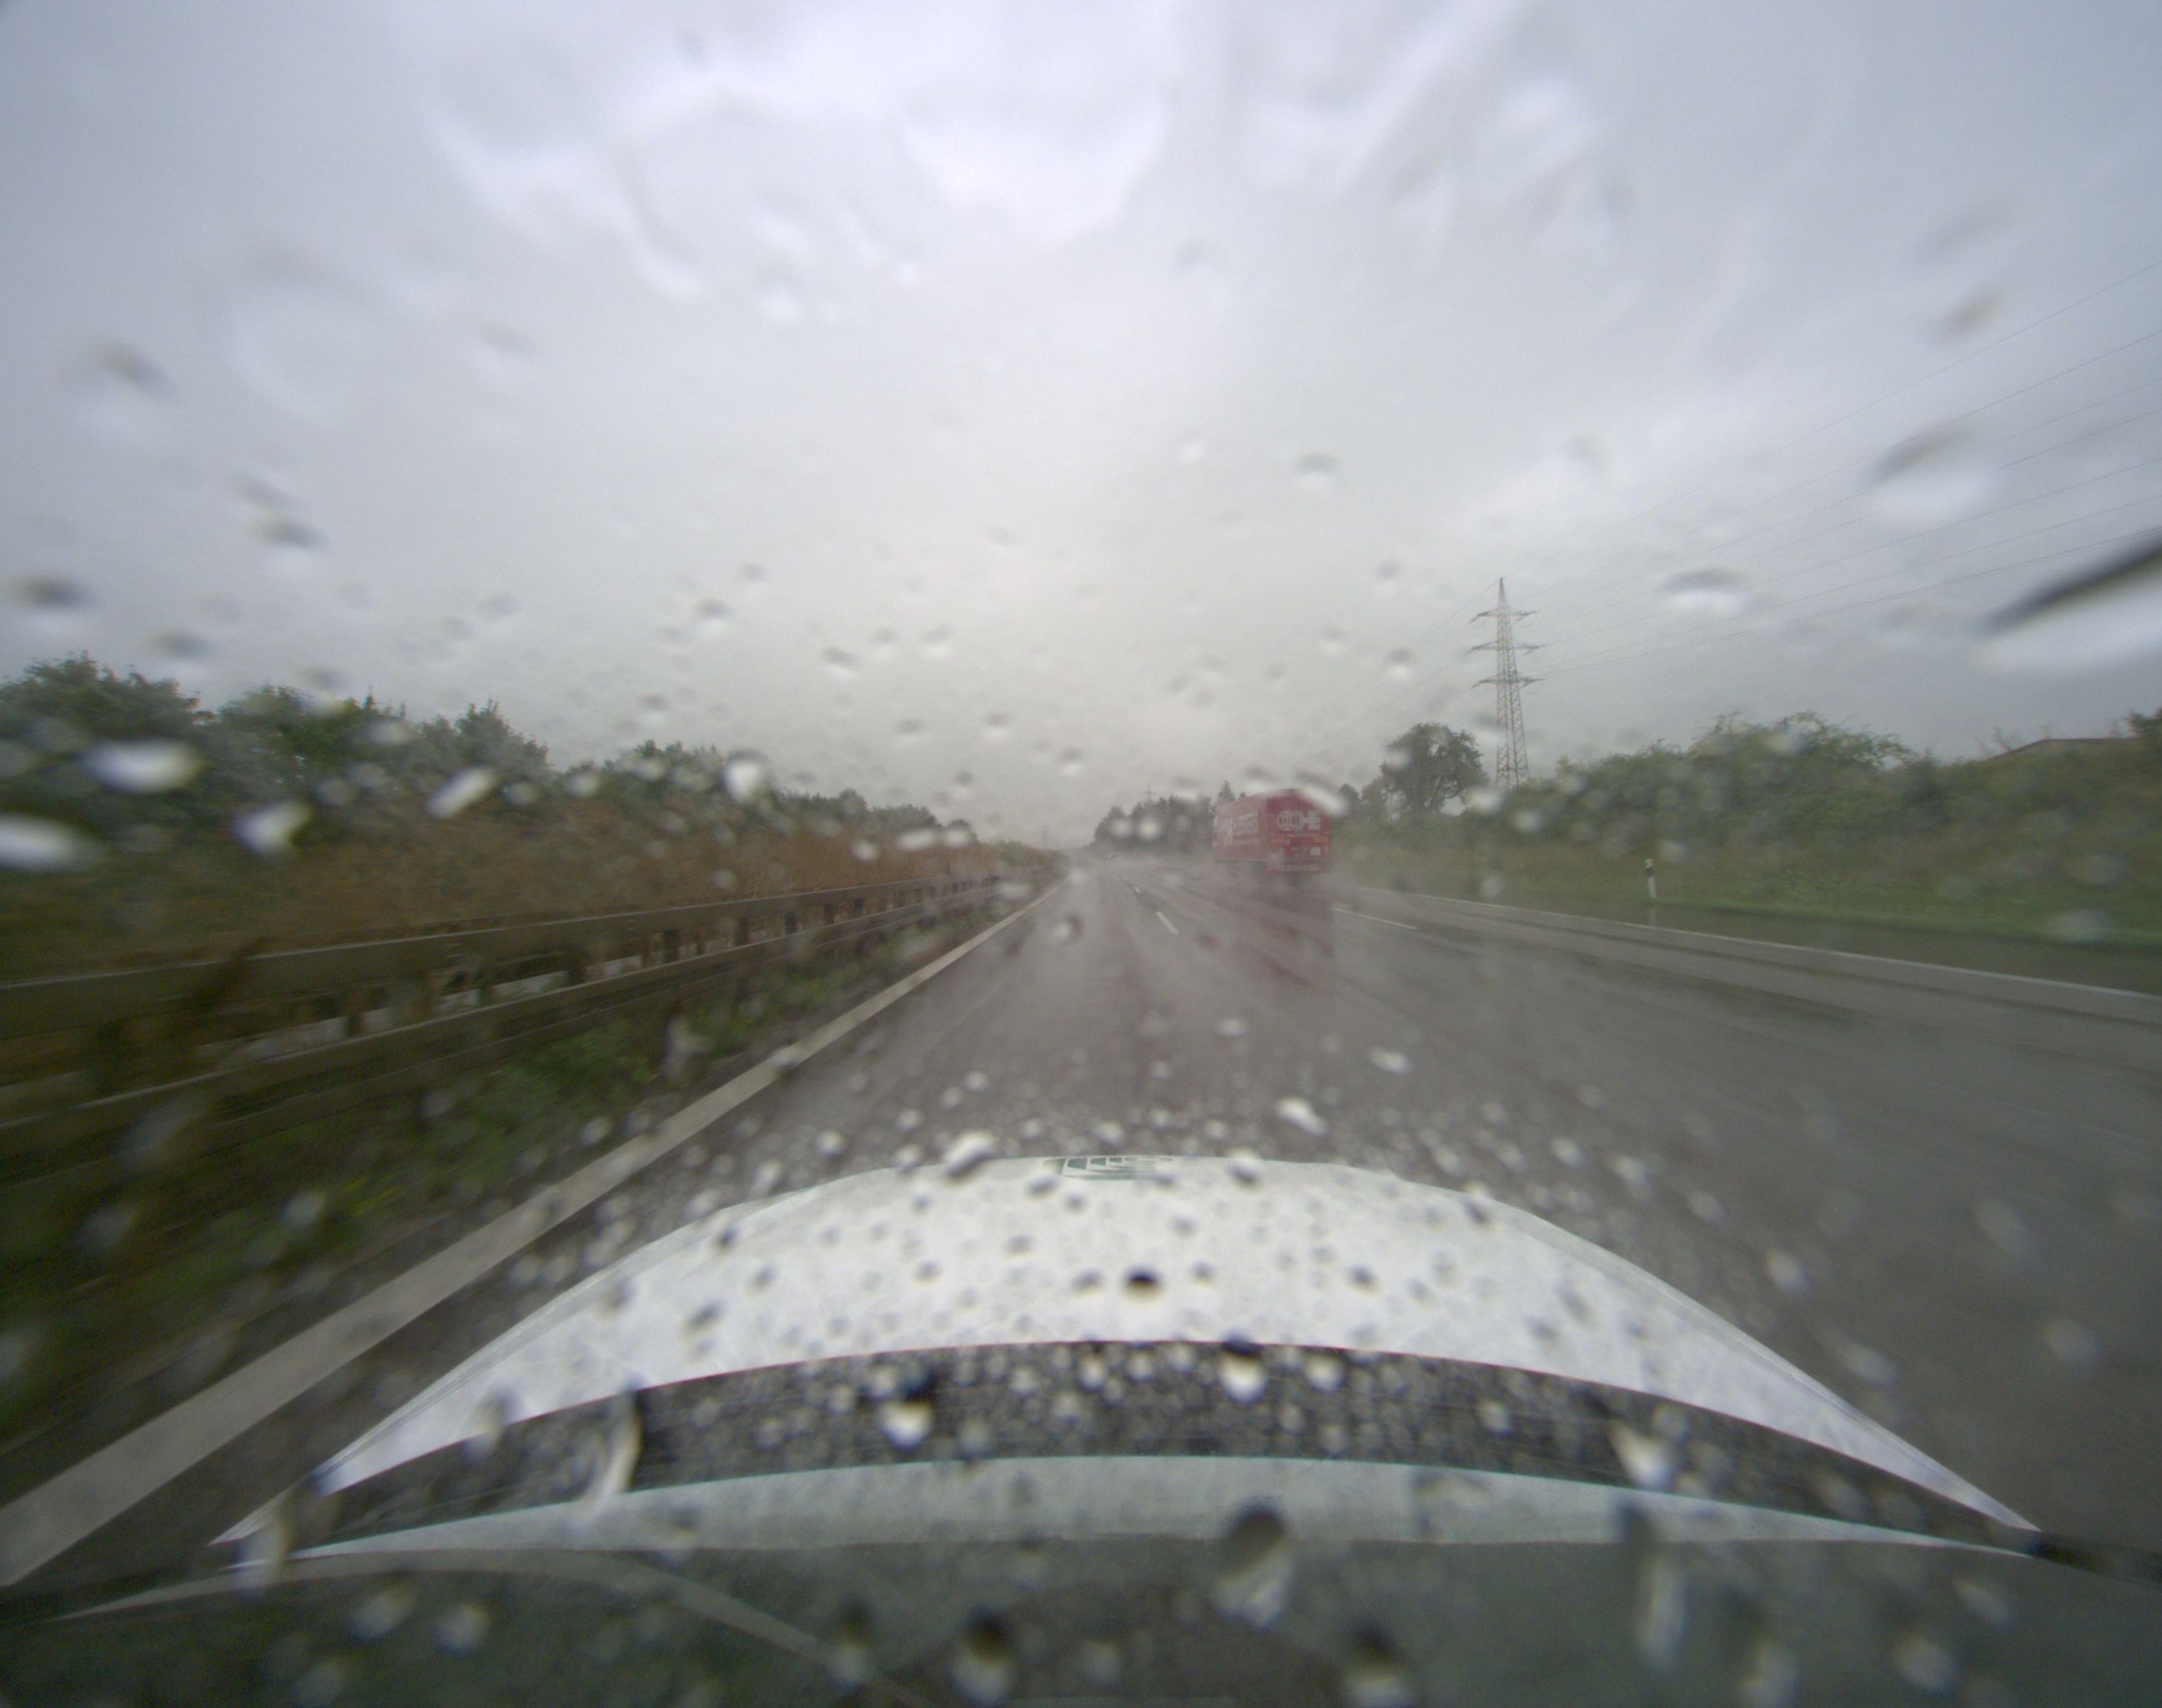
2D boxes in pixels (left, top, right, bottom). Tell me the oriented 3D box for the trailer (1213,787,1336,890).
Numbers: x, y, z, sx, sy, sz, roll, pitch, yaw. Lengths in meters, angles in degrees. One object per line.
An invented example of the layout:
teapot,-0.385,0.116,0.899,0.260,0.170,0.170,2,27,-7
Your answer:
trailer,8.863,-0.598,39.485,2.611,3.955,13.629,-4,0,0

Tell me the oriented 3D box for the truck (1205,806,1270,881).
truck,8.962,-0.563,47.332,2.611,3.955,5.434,-4,0,1

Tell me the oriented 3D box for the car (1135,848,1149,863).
car,9.498,0.264,126.465,1.801,2.158,3.999,-3,0,0
